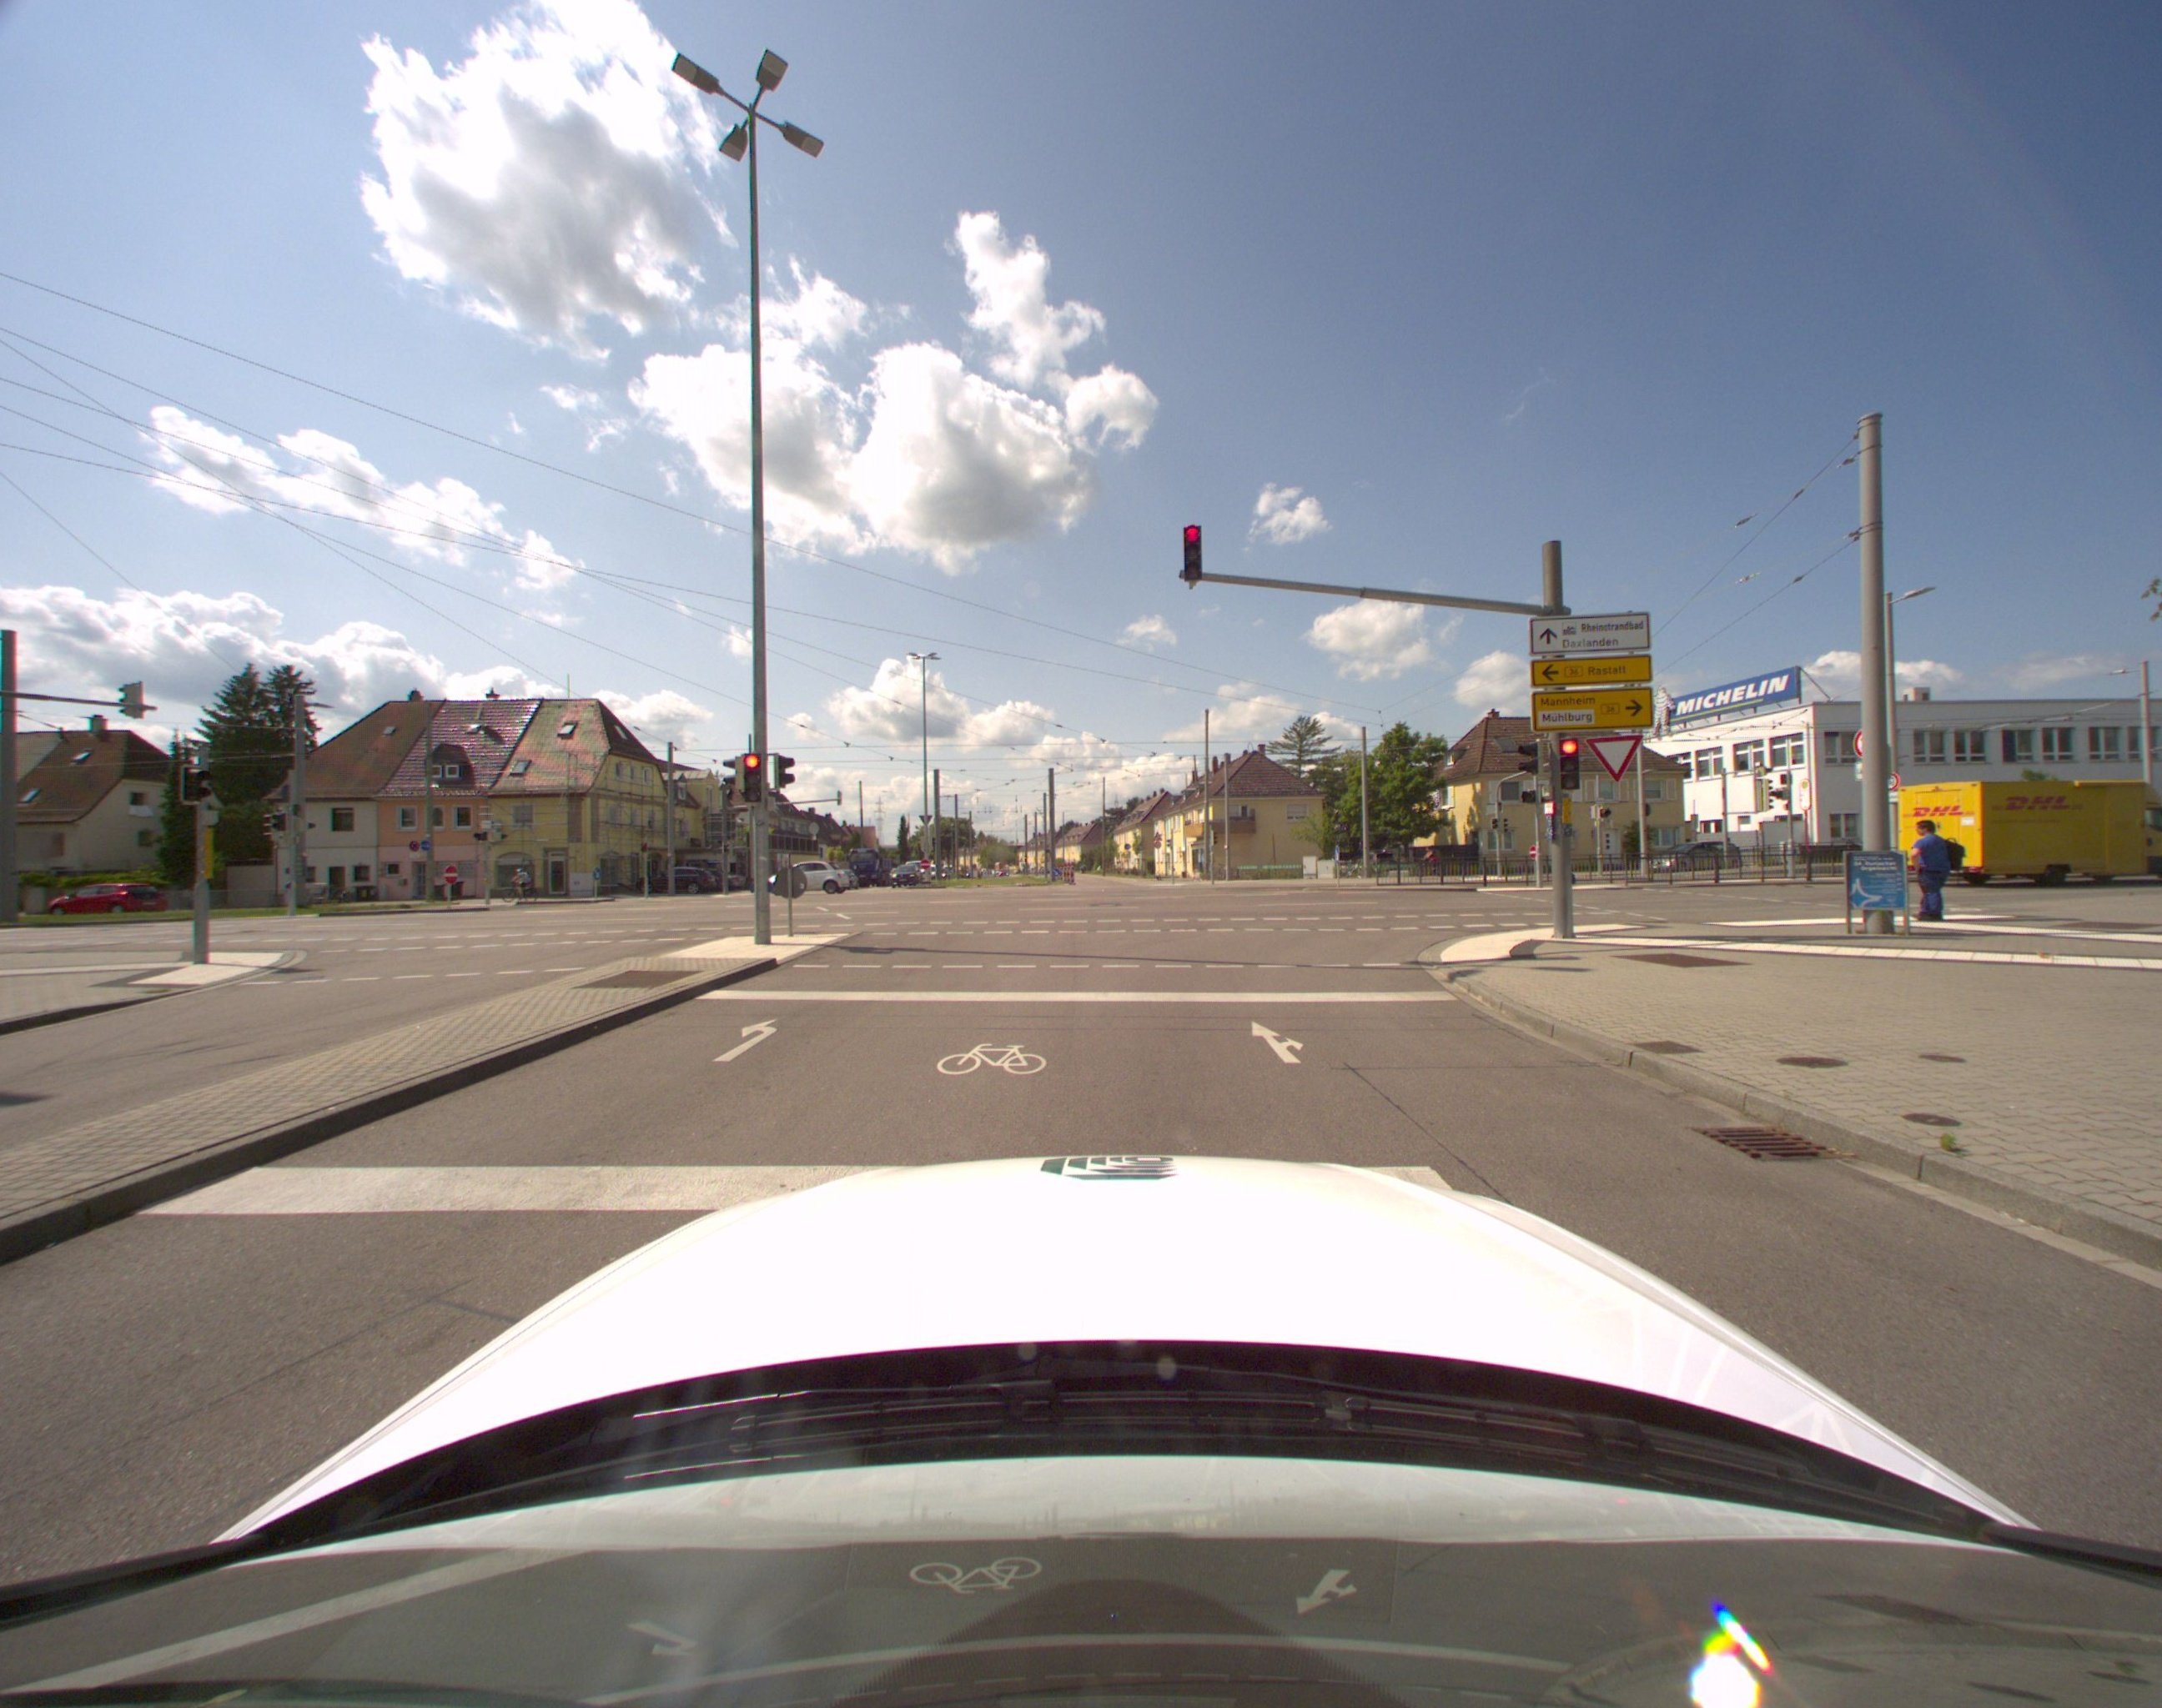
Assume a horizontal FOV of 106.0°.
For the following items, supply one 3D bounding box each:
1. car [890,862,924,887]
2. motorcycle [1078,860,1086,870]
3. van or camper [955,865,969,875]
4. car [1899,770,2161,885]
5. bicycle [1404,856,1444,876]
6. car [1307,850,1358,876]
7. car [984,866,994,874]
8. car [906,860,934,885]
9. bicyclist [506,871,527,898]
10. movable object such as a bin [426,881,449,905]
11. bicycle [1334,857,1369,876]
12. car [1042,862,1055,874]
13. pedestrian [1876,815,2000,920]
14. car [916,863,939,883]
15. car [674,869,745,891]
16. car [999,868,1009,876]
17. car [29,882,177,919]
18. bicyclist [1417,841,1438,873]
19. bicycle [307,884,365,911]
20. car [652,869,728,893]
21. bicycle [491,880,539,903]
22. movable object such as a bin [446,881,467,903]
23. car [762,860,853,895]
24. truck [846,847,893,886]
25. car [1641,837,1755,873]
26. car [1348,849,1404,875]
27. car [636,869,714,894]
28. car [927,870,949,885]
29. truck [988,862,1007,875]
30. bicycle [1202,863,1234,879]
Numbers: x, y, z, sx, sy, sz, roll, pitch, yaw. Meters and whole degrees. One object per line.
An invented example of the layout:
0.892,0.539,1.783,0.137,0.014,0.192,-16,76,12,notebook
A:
-12.778,1.500,60.027,1.783,1.720,4.434,-1,0,-5,car
0.132,1.820,132.218,1.065,1.635,2.079,-1,-1,-6,motorcycle
-35.979,4.817,246.550,2.704,2.702,6.468,-1,0,-23,van or camper
26.967,-0.718,22.572,6.549,2.928,2.064,-1,0,-1,car
19.644,0.675,46.603,2.008,1.102,0.719,-2,-1,29,bicycle
16.975,0.651,55.154,1.821,1.621,3.989,-1,-2,-8,car
-24.693,4.225,218.316,2.000,1.910,3.973,-1,0,-20,car
-13.104,1.537,66.456,1.812,1.922,4.737,-1,-1,-6,car
-29.435,1.586,42.484,0.724,1.398,0.573,-1,0,-20,bicyclist
-35.374,2.135,44.781,0.680,1.260,0.681,0,-1,-2,movable object such as a bin
16.036,0.762,48.309,1.785,1.105,0.707,-2,-1,41,bicycle
-6.387,2.764,157.643,2.064,2.149,4.865,-1,-1,-8,car
14.861,0.221,14.154,1.027,1.735,1.040,-1,0,-2,pedestrian
-13.977,1.731,74.351,1.731,1.782,4.395,-2,-1,-6,car
-25.393,1.790,55.777,4.129,1.493,1.431,0,-1,-7,car
-15.327,3.575,162.736,1.840,1.494,4.847,-2,-1,-5,car
-42.225,1.986,35.238,3.975,1.354,1.923,-1,0,-1,car
19.820,0.163,46.550,0.948,1.775,0.724,-2,-2,29,bicyclist
-40.804,2.356,44.650,0.770,1.356,2.460,0,-1,3,bicycle
-25.448,1.733,53.065,4.129,1.493,1.504,0,-1,-7,car
-29.495,1.960,42.481,1.906,1.078,0.689,-1,0,-20,bicycle
-35.349,2.146,46.116,0.680,1.260,0.681,0,-1,-2,movable object such as a bin
-12.221,1.026,36.533,3.533,1.508,1.583,0,-1,-4,car
-18.161,1.093,70.292,2.765,3.188,7.565,-1,-1,-6,truck
28.962,0.056,38.327,3.974,1.568,1.842,-2,-1,-1,car
19.765,0.582,54.723,1.821,1.621,3.989,-1,-2,-8,car
-25.086,1.711,50.379,4.129,1.493,1.176,0,-1,-7,car
-14.252,2.333,81.300,1.912,1.419,3.991,-1,-1,-6,car
-22.410,3.900,218.315,2.651,3.494,9.368,-1,-1,-21,truck
9.345,1.162,55.631,0.598,1.096,2.250,0,-2,-39,bicycle
